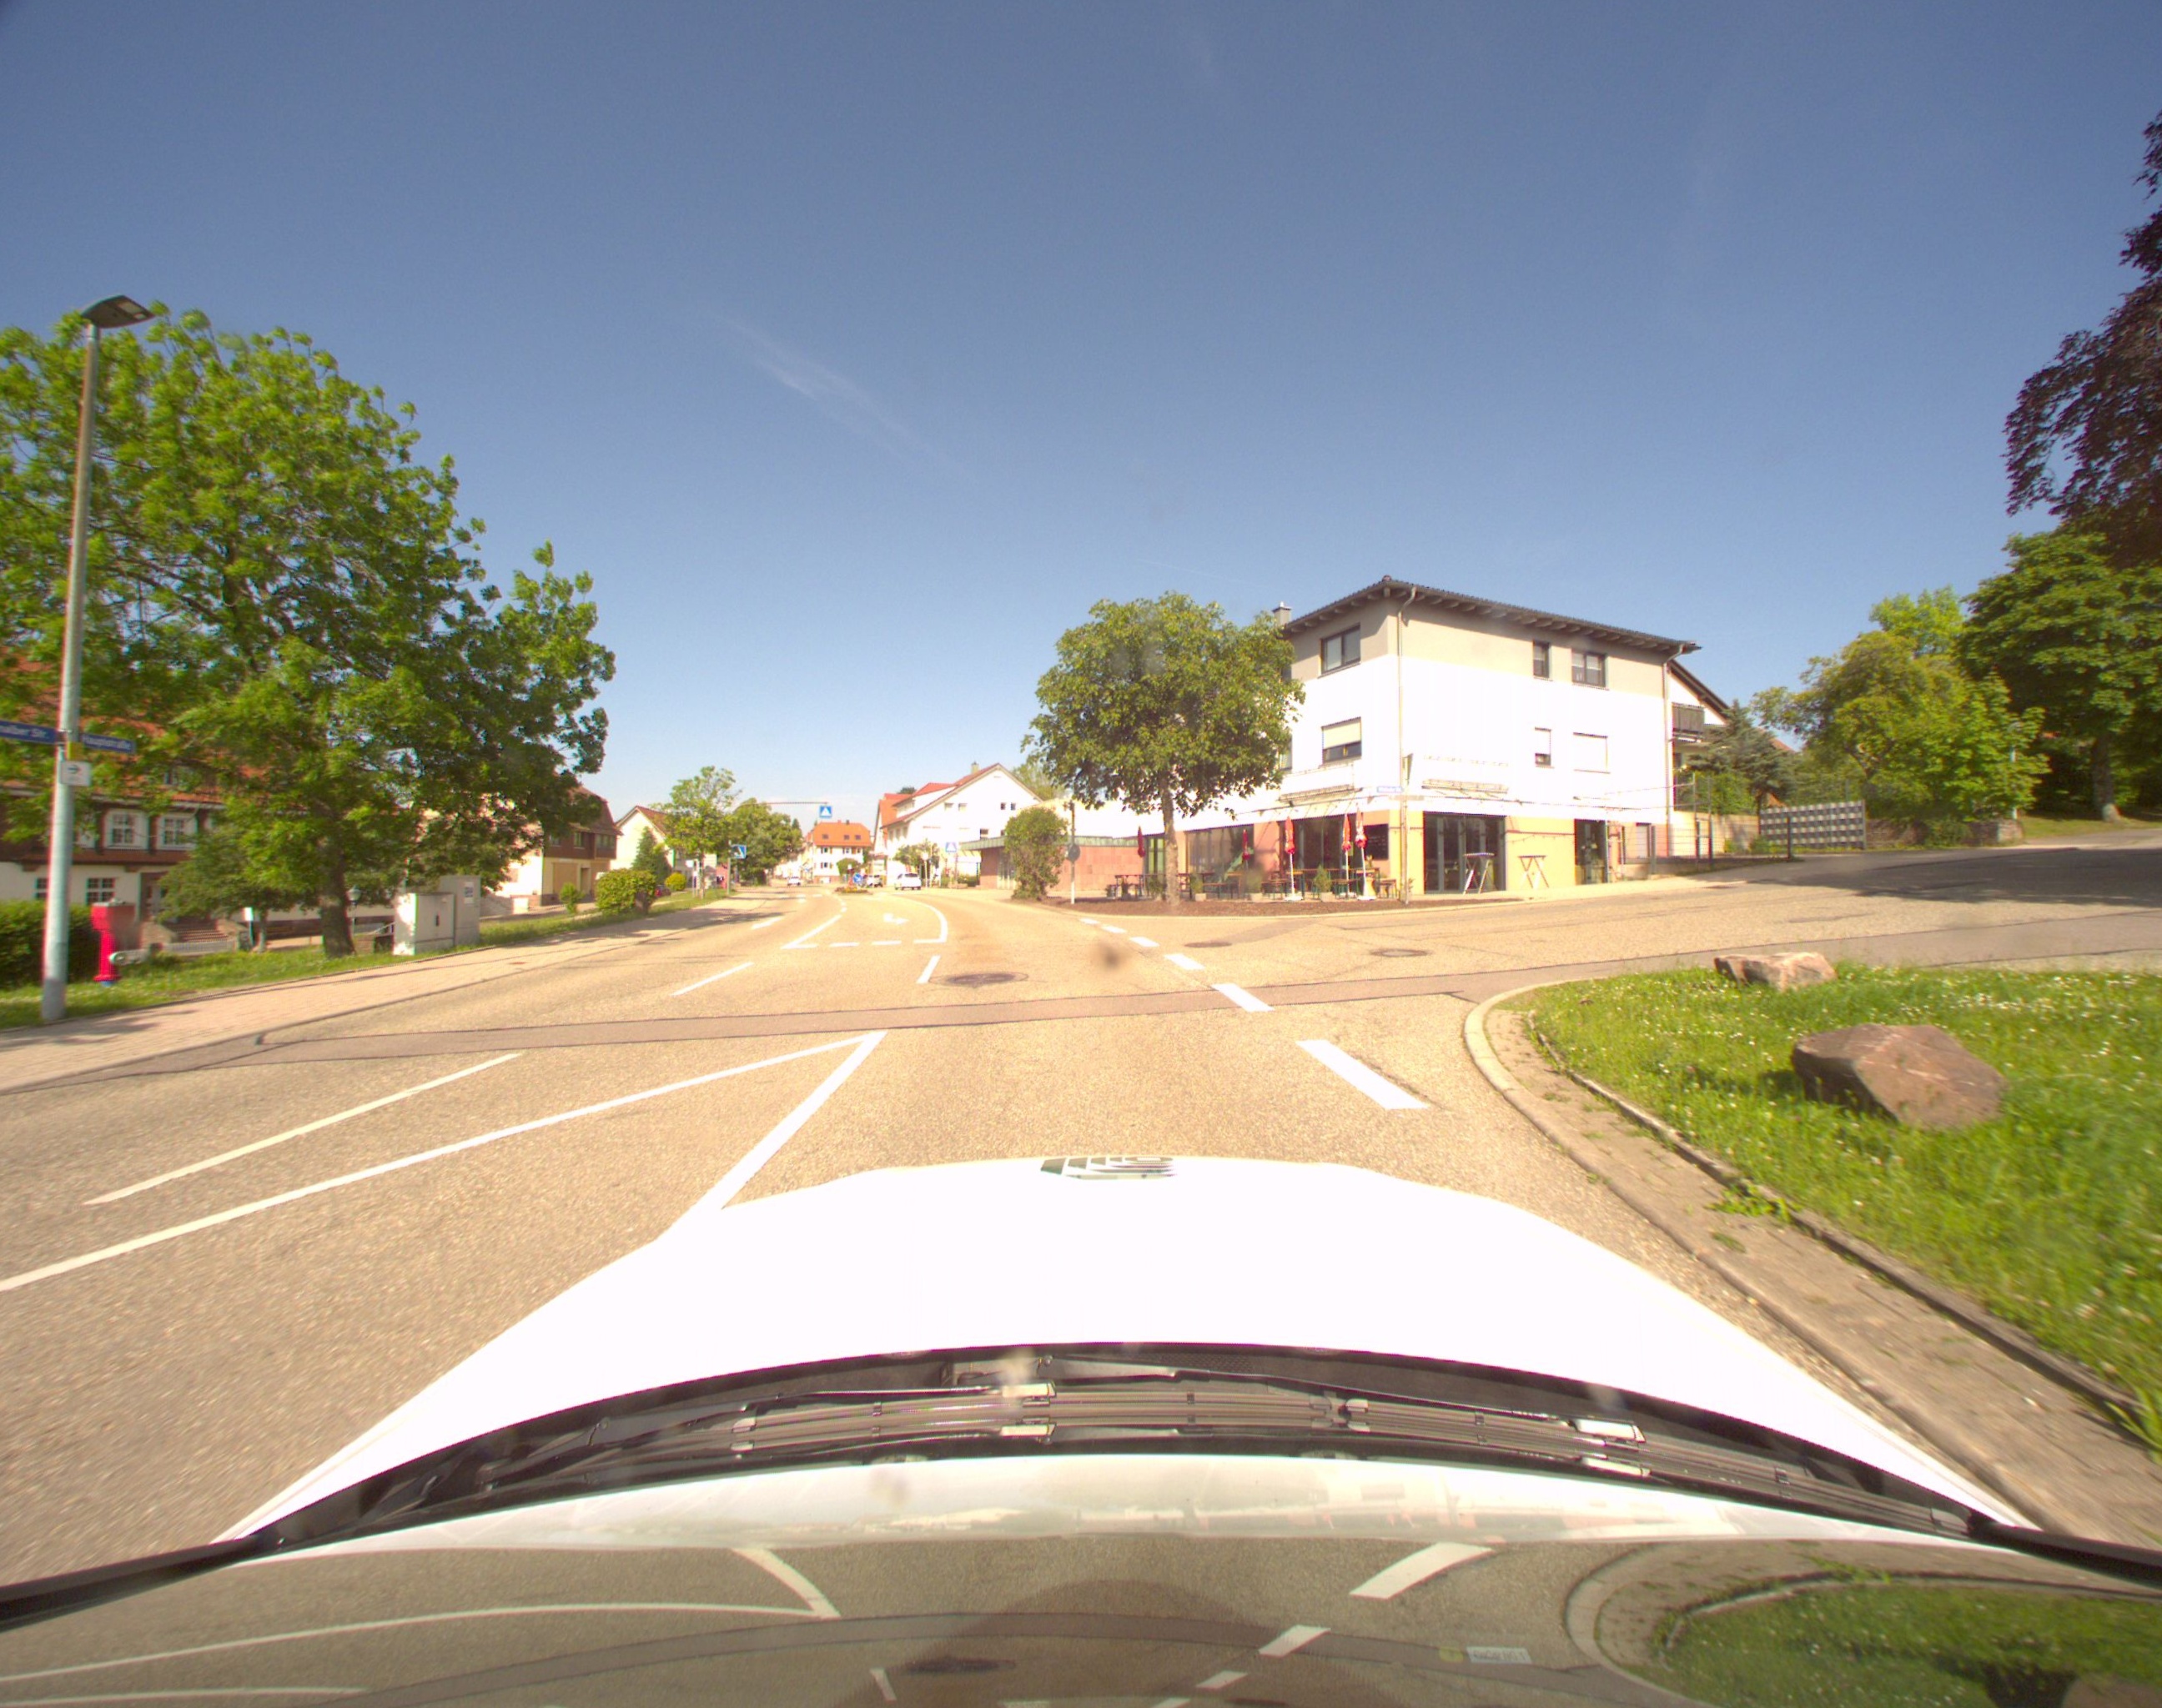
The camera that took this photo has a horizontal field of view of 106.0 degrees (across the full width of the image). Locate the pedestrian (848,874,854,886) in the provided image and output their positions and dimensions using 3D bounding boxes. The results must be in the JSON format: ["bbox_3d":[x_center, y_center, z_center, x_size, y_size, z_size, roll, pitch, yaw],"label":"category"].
[{"bbox_3d":[-35.359,3.962,124.968,0.802,1.784,0.973,-2,-1,-19],"label":"pedestrian"}]

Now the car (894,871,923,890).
[{"bbox_3d":[-14.382,2.176,67.620,1.767,1.423,3.608,-3,-1,-21],"label":"car"}]

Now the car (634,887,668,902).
[{"bbox_3d":[-42.896,3.991,81.367,1.720,1.297,3.988,-3,-1,-9],"label":"car"}]

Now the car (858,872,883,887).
[{"bbox_3d":[-21.865,2.669,84.497,1.644,1.420,3.900,-2,-1,-27],"label":"car"}]

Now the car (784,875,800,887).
[{"bbox_3d":[-52.186,4.929,147.060,2.506,2.013,4.271,-3,-1,-23],"label":"car"}]
